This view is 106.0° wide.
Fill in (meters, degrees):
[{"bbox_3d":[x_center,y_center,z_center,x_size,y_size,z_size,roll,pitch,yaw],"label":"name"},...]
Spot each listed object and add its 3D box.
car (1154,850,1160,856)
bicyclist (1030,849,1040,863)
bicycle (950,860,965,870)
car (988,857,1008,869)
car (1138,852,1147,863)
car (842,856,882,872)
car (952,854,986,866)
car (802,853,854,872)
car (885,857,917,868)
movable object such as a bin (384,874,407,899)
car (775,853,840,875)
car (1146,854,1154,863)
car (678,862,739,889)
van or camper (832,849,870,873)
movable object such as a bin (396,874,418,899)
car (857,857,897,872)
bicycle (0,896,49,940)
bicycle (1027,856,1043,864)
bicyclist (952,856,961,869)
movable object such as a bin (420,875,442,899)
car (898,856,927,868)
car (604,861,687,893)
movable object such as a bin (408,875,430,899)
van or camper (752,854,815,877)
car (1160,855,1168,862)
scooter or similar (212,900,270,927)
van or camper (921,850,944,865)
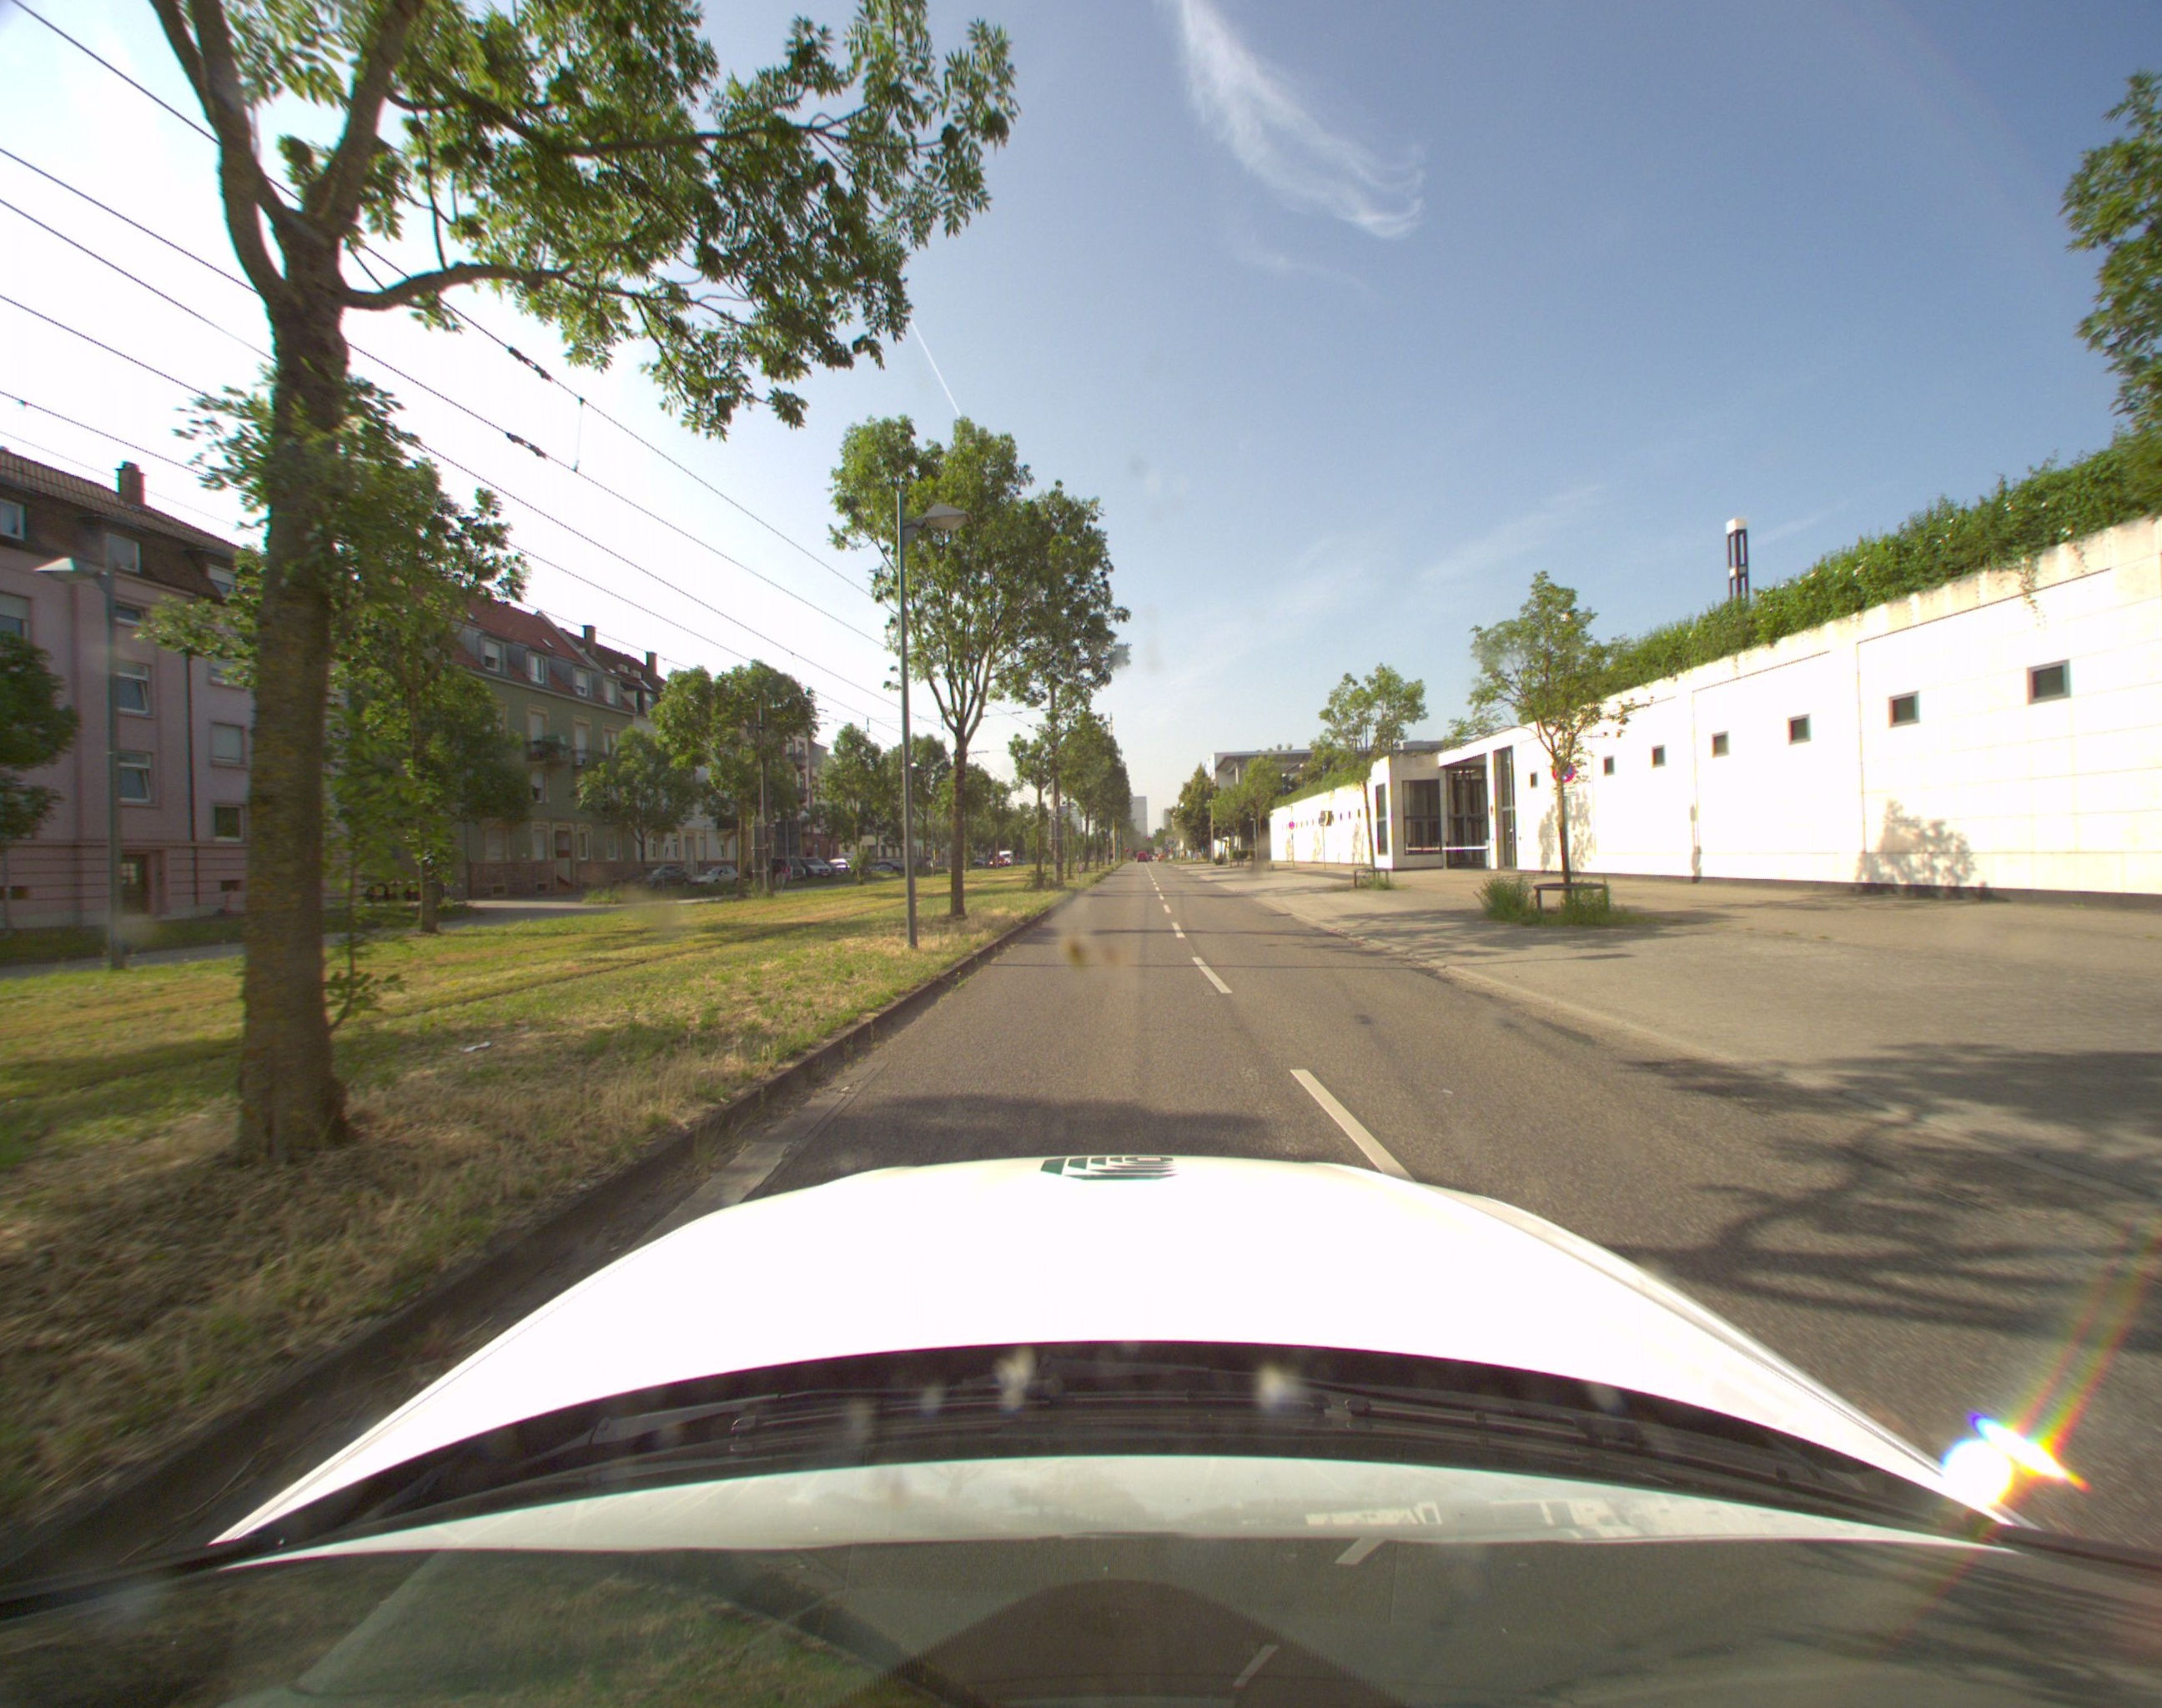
[{"bbox_3d":[23.477,-0.271,251.058,1.740,1.650,3.221,0,1,5],"label":"car"},{"bbox_3d":[-6.271,0.268,111.265,1.141,1.934,0.687,0,-1,6],"label":"bicyclist"},{"bbox_3d":[-16.837,1.446,110.975,2.065,1.324,0.781,1,-1,-9],"label":"bicycle"},{"bbox_3d":[-12.049,1.270,118.614,1.954,1.694,4.305,0,0,7],"label":"car"},{"bbox_3d":[11.555,0.644,152.781,1.740,2.014,3.220,0,0,5],"label":"car"},{"bbox_3d":[-20.553,0.894,76.308,3.949,1.417,1.587,0,0,39],"label":"car"},{"bbox_3d":[-17.054,0.890,124.386,5.258,1.738,2.013,0,0,38],"label":"car"},{"bbox_3d":[-20.352,0.649,65.373,4.420,1.419,1.987,0,0,41],"label":"car"},{"bbox_3d":[-18.952,0.874,85.746,3.124,1.161,1.506,0,0,36],"label":"car"},{"bbox_3d":[-35.056,1.655,41.642,0.583,1.211,0.641,0,-1,2],"label":"movable object such as a bin"},{"bbox_3d":[-21.070,0.729,62.632,5.155,1.623,2.070,0,0,34],"label":"car"},{"bbox_3d":[16.628,1.110,196.625,1.740,2.014,3.220,0,0,5],"label":"car"},{"bbox_3d":[-23.980,1.357,52.622,1.882,1.628,4.159,0,0,3],"label":"car"},{"bbox_3d":[-25.953,0.779,92.166,2.030,2.567,6.362,0,0,4],"label":"van or camper"},{"bbox_3d":[-34.438,1.660,41.613,0.583,1.211,0.641,0,-1,2],"label":"movable object such as a bin"},{"bbox_3d":[-19.709,1.024,78.643,3.948,1.417,1.587,0,0,37],"label":"car"},{"bbox_3d":[-29.049,1.730,21.665,0.601,1.128,1.949,0,0,3],"label":"bicycle"},{"bbox_3d":[-6.249,0.800,111.257,2.057,1.042,0.669,0,0,4],"label":"bicycle"},{"bbox_3d":[-16.999,1.164,110.946,1.146,1.762,0.684,1,-1,-9],"label":"bicyclist"},{"bbox_3d":[-33.185,1.671,41.571,0.583,1.211,0.641,0,-1,2],"label":"movable object such as a bin"},{"bbox_3d":[-18.592,0.873,89.901,3.124,1.326,1.506,0,0,37],"label":"car"},{"bbox_3d":[-24.901,1.283,46.769,1.985,1.628,4.778,0,0,2],"label":"car"},{"bbox_3d":[-33.820,1.665,41.591,0.583,1.211,0.641,0,-1,2],"label":"movable object such as a bin"},{"bbox_3d":[-21.932,0.824,60.003,4.788,1.623,2.015,0,0,37],"label":"van or camper"},{"bbox_3d":[19.971,1.022,196.024,1.740,1.650,3.220,0,0,5],"label":"car"},{"bbox_3d":[-28.590,2.026,27.745,0.599,0.812,1.226,0,0,14],"label":"scooter or similar"},{"bbox_3d":[-23.691,0.576,129.846,1.983,2.328,5.837,0,0,6],"label":"van or camper"}]
